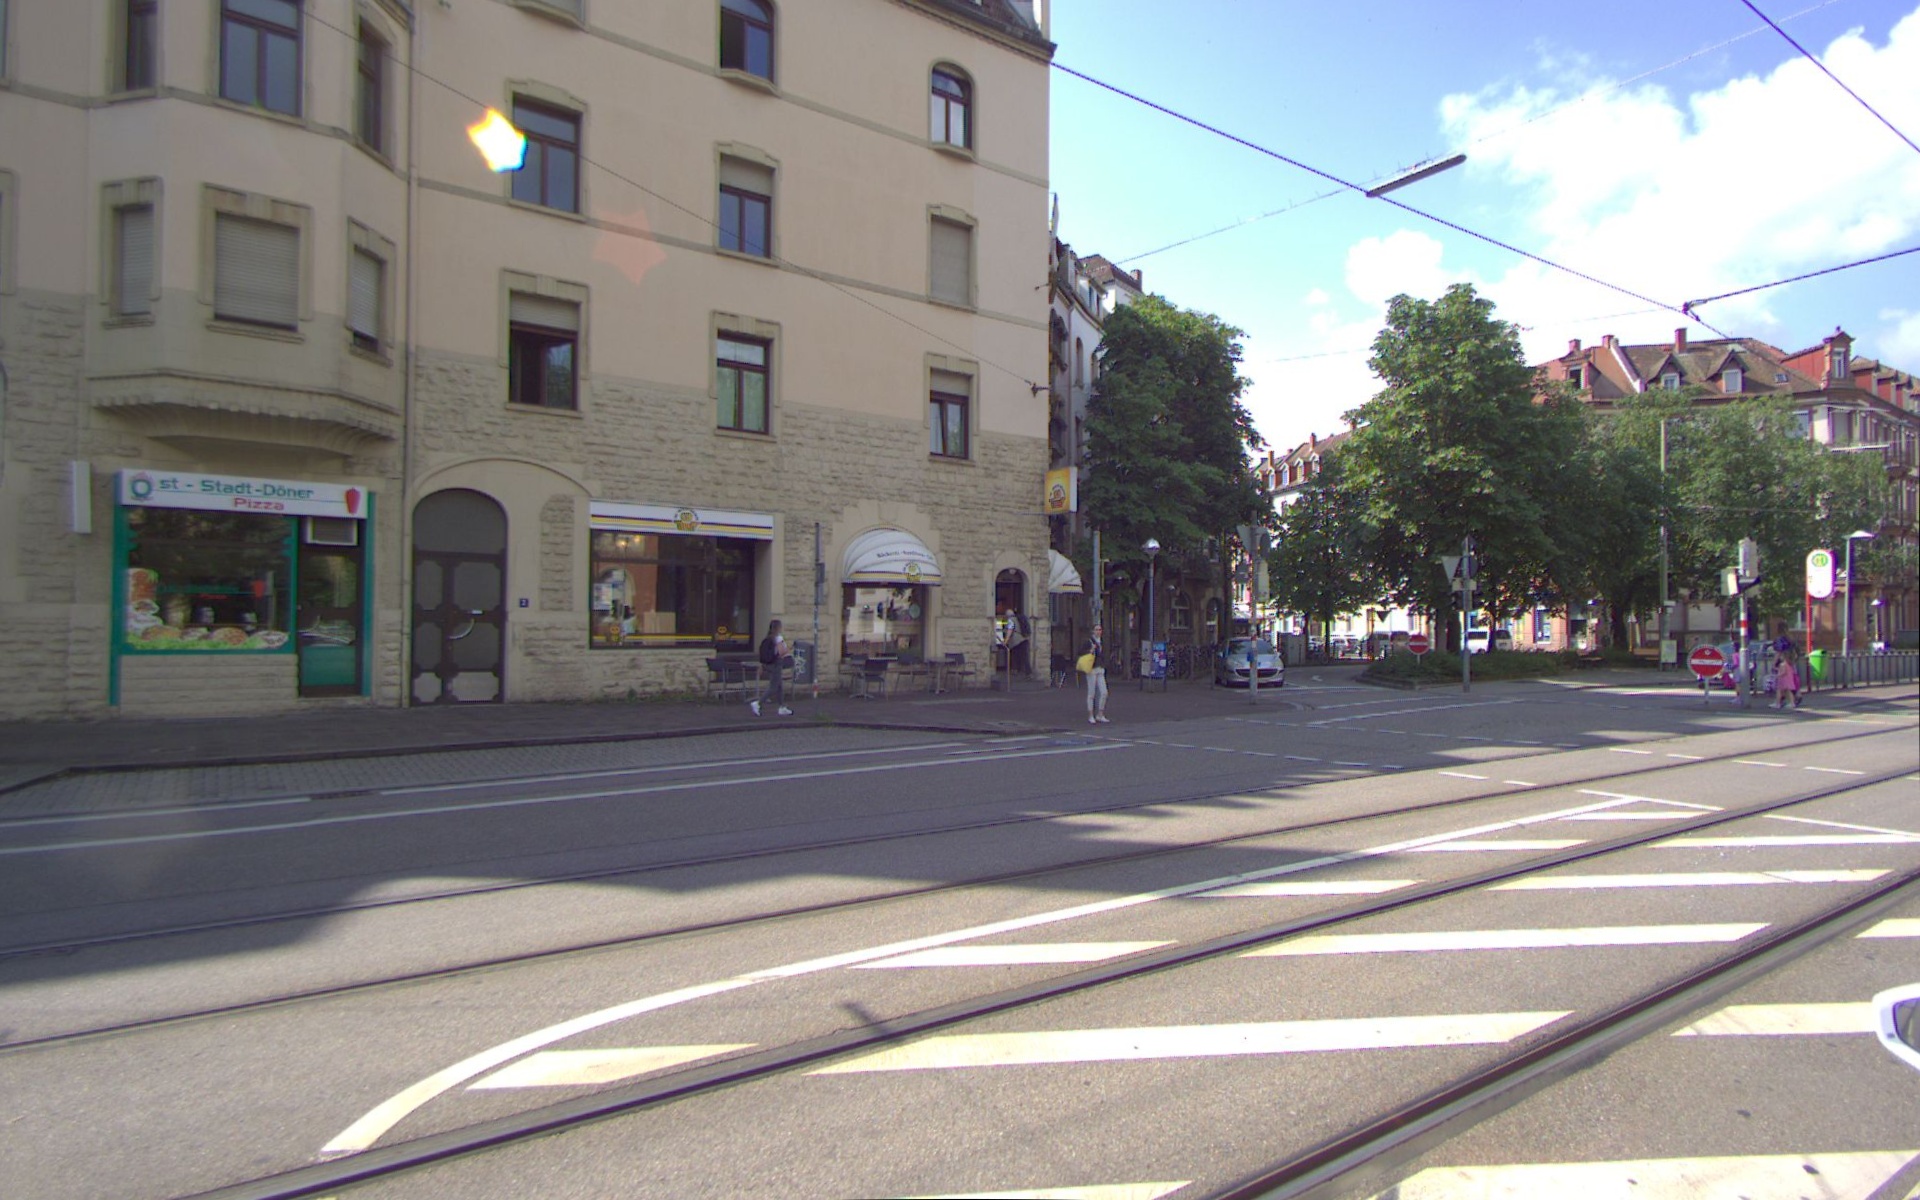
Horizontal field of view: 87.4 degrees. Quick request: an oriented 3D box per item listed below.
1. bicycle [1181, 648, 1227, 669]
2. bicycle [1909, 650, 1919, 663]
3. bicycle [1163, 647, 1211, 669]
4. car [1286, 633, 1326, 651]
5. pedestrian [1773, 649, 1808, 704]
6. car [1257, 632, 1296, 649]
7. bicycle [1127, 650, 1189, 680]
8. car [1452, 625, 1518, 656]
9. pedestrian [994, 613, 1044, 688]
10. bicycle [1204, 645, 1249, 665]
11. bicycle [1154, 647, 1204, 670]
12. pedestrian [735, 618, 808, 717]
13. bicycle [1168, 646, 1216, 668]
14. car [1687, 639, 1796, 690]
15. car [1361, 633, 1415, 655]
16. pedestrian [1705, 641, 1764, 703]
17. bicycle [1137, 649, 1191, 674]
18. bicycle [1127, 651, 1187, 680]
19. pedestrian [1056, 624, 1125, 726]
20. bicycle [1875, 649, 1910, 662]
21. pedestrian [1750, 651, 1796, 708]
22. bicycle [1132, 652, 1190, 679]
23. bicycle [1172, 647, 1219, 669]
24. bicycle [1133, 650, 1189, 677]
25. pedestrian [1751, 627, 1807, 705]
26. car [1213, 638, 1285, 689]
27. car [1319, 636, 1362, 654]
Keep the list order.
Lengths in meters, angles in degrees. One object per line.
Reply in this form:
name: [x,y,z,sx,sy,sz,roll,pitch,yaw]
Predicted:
bicycle: [11.408,2.711,46.952,1.994,0.910,0.571,1,-2,29]
bicycle: [57.359,3.361,59.627,1.677,0.757,0.386,0,-1,2]
bicycle: [9.969,2.544,44.167,1.992,0.910,0.572,1,-2,23]
car: [29.823,3.630,86.772,1.602,1.513,3.638,1,-2,-13]
pedestrian: [17.435,1.597,21.082,0.419,1.122,0.434,2,-4,-38]
car: [28.786,3.671,91.483,1.687,1.575,3.912,1,-2,-12]
bicycle: [6.539,2.139,33.171,1.990,0.894,0.523,1,-1,12]
car: [34.648,2.643,66.393,1.823,2.015,3.941,1,-2,-10]
pedestrian: [1.381,1.162,23.353,0.849,1.694,0.814,1,-2,-35]
bicycle: [12.922,2.667,48.711,1.994,0.910,0.571,1,-2,29]
bicycle: [9.381,2.511,43.051,1.992,0.910,0.546,1,-2,22]
pedestrian: [-3.179,1.116,16.971,0.685,1.562,0.959,4,2,40]
bicycle: [10.405,2.563,45.043,1.993,0.910,0.571,1,-2,26]
car: [23.097,1.877,29.674,3.402,1.405,1.614,1,-3,-36]
car: [32.341,3.317,76.073,1.882,1.685,3.934,1,-2,-11]
pedestrian: [16.972,1.576,22.018,0.711,1.320,0.819,2,-4,-38]
bicycle: [7.843,2.351,38.675,1.990,0.894,0.547,1,-1,12]
bicycle: [6.778,2.250,34.500,1.990,0.894,0.512,1,-1,12]
pedestrian: [2.329,1.315,17.934,0.865,1.727,0.751,1,2,-35]
bicycle: [55.397,3.301,59.696,1.677,0.757,0.386,0,-1,2]
pedestrian: [16.546,1.613,20.453,0.440,1.128,0.636,2,-2,-38]
bicycle: [7.141,2.316,35.684,1.990,0.894,0.512,1,-1,12]
bicycle: [10.745,2.650,45.770,1.993,0.910,0.571,1,-2,26]
bicycle: [7.410,2.336,37.011,1.990,0.894,0.512,1,-1,12]
pedestrian: [16.949,1.351,20.786,0.792,1.586,0.722,2,-2,-38]
car: [8.826,1.892,30.881,1.686,1.439,3.876,0,-2,9]
car: [30.756,3.614,81.374,1.468,1.411,3.686,1,-2,-13]
